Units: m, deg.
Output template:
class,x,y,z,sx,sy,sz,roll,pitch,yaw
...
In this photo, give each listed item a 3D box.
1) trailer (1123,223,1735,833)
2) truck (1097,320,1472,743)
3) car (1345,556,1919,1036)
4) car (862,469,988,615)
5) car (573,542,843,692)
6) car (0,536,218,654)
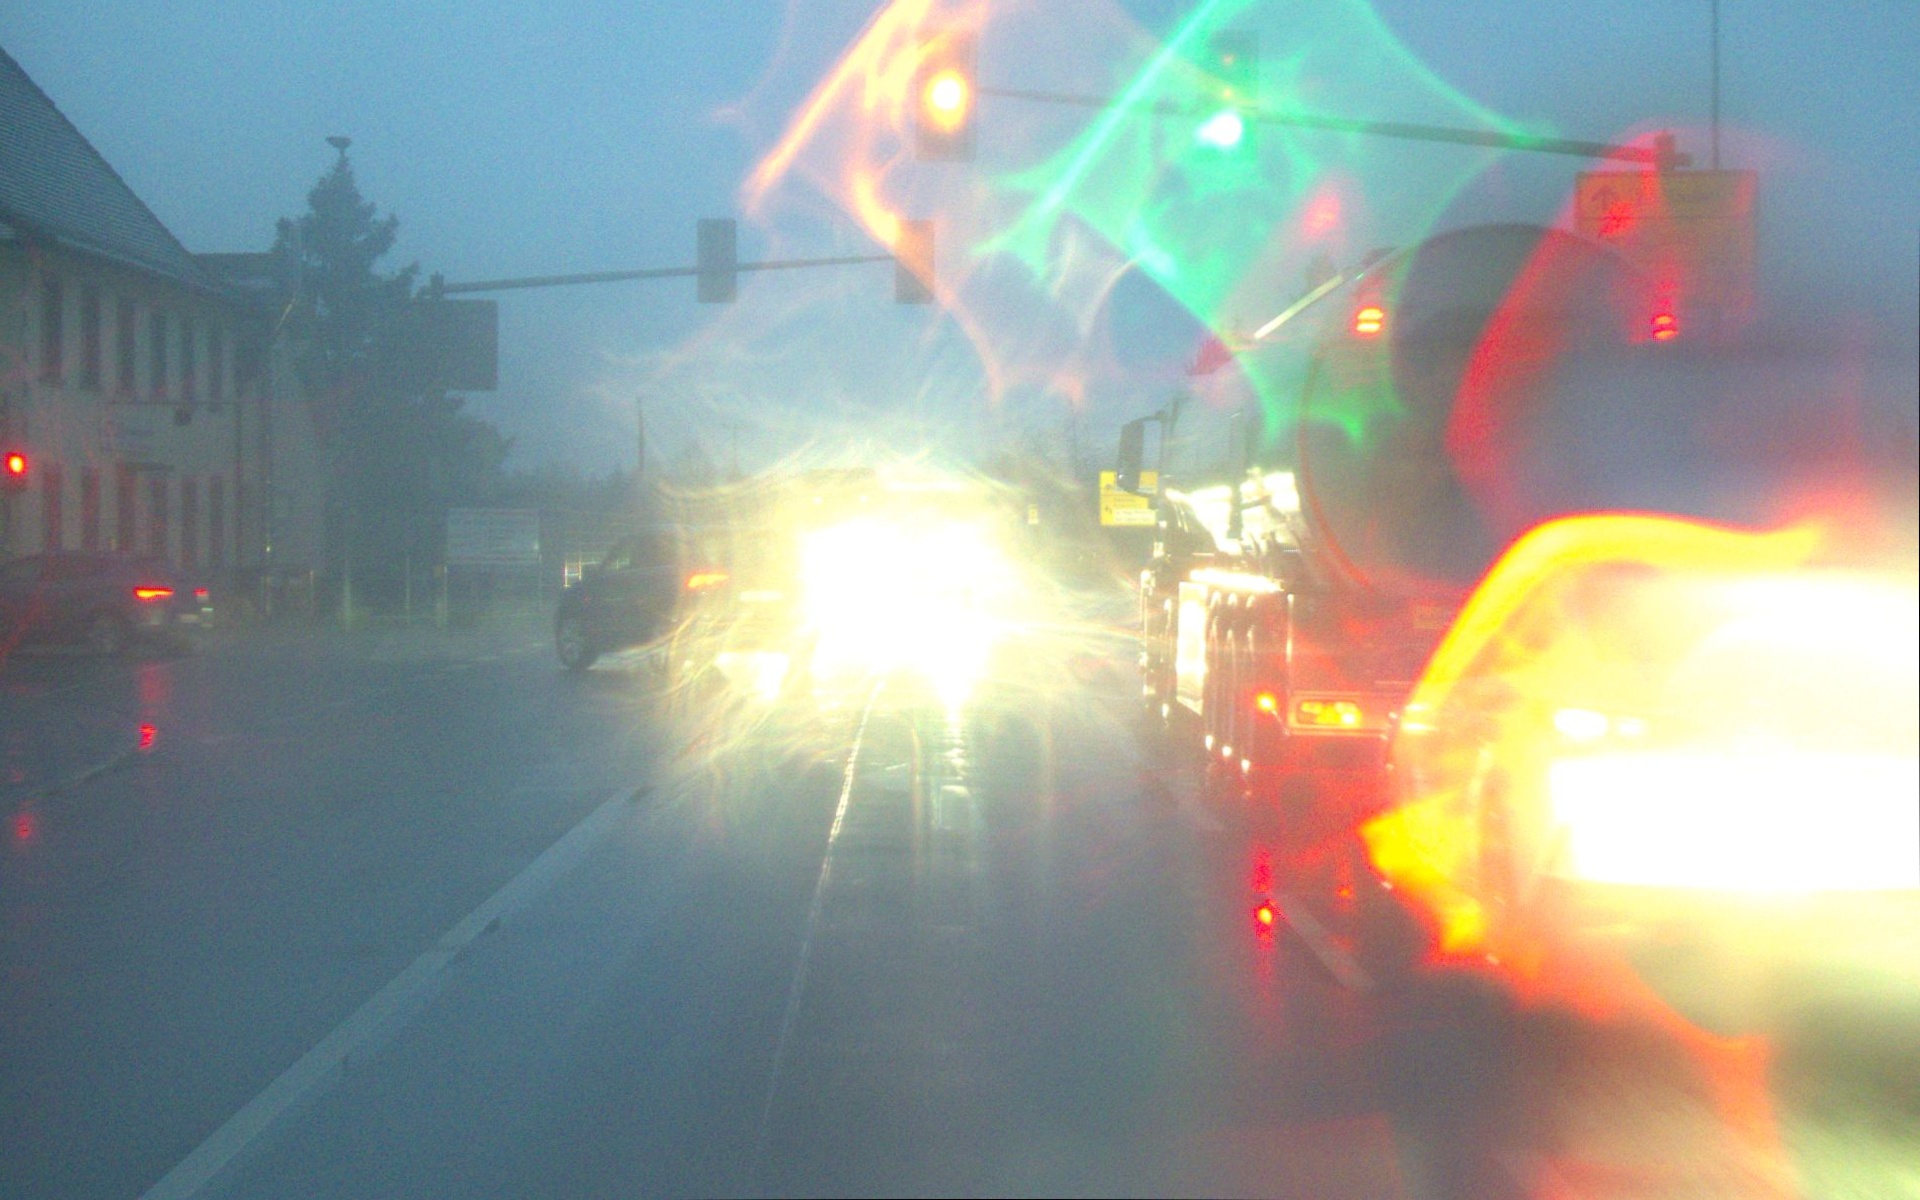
class,x,y,z,sx,sy,sz,roll,pitch,yaw
trailer,2.764,-0.478,23.819,2.488,3.229,10.870,1,1,-1
truck,2.622,-0.580,29.588,2.461,3.218,6.273,1,1,-1
car,2.552,0.579,12.746,1.662,1.434,4.382,1,1,-1
car,-0.800,-1.223,72.630,2.401,2.882,6.251,2,1,-2
car,-2.949,0.144,39.242,2.046,1.567,4.704,-1,1,-17
car,-11.691,-0.086,46.149,3.215,1.503,1.549,1,1,-6
